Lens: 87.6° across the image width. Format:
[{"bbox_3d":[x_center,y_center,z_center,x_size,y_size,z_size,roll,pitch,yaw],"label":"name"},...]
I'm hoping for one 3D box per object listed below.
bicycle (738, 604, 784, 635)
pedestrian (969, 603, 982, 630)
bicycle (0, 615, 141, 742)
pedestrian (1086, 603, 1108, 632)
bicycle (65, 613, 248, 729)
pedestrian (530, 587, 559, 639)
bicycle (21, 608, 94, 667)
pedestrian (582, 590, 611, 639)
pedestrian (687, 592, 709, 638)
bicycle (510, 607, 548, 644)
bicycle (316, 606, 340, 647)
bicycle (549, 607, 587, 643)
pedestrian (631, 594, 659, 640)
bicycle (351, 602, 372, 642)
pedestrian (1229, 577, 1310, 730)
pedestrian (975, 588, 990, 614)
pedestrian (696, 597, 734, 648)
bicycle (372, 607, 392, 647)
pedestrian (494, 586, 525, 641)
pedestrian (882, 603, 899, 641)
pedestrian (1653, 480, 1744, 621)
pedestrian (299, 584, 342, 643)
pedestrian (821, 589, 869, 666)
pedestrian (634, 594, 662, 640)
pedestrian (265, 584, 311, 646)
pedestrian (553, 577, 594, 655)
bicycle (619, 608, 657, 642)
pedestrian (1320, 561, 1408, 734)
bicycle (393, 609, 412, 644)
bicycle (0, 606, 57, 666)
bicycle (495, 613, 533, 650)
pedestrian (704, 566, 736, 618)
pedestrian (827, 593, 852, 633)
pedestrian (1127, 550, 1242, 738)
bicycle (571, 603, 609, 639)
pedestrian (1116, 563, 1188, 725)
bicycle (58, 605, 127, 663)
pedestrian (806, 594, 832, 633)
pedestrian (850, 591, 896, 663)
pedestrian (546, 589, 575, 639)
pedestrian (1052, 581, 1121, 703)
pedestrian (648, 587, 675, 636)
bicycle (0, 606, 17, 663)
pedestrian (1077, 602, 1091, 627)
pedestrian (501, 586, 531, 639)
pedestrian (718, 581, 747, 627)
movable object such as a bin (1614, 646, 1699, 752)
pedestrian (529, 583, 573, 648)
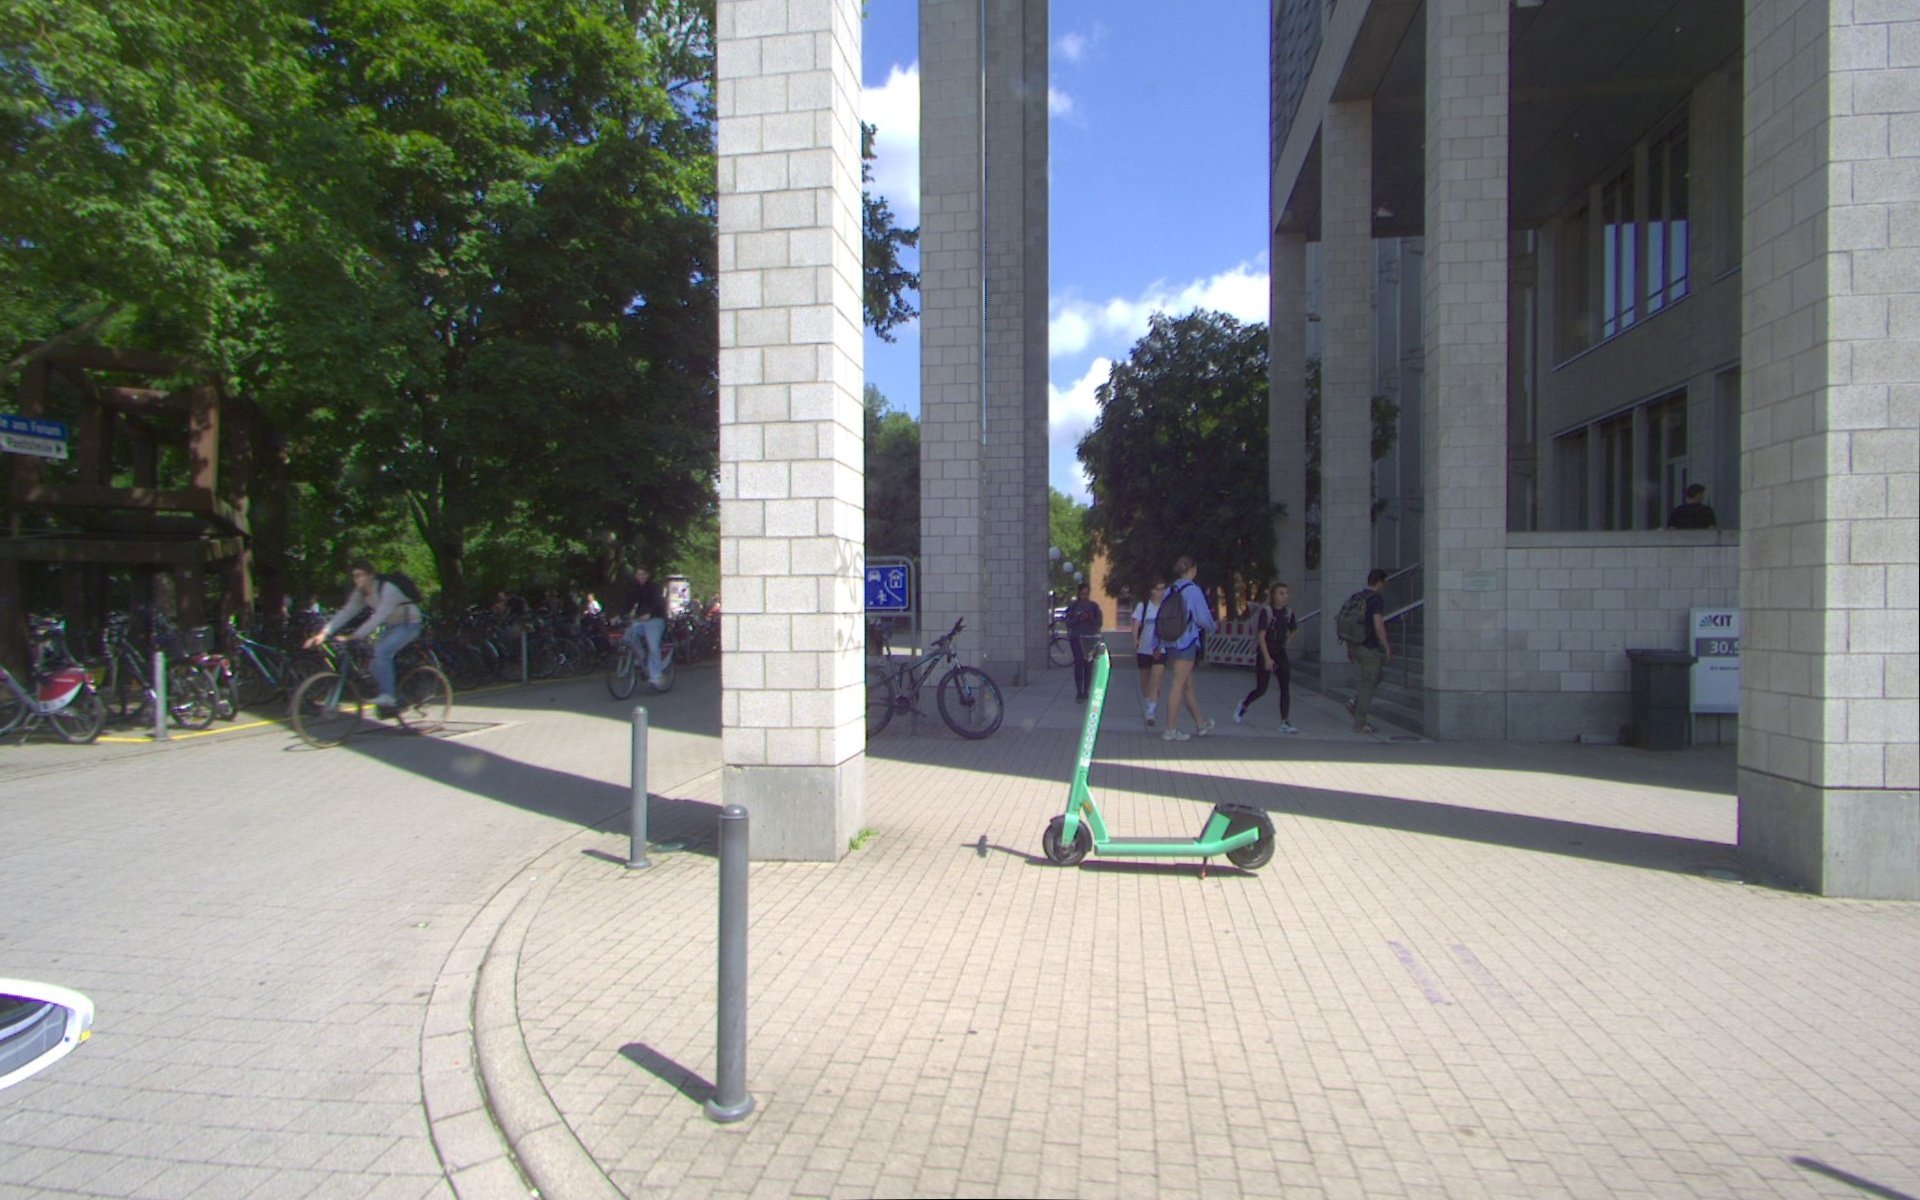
[{"bbox_3d":[-7.388,0.731,37.195,1.670,1.125,0.473,1,0,22],"label":"bicycle"},{"bbox_3d":[0.951,1.038,61.361,0.560,1.632,0.918,1,-1,11],"label":"pedestrian"},{"bbox_3d":[-8.651,0.717,9.425,1.598,1.123,0.496,0,2,9],"label":"bicycle"},{"bbox_3d":[8.873,1.129,64.935,1.021,1.882,0.880,2,0,44],"label":"pedestrian"},{"bbox_3d":[-8.221,0.709,10.260,1.598,1.123,0.496,0,2,9],"label":"bicycle"},{"bbox_3d":[-14.752,0.469,35.532,0.893,1.798,0.767,1,0,-24],"label":"pedestrian"},{"bbox_3d":[-18.009,0.720,20.012,0.495,1.122,1.900,1,0,-24],"label":"bicycle"},{"bbox_3d":[-13.032,0.516,35.915,0.893,1.702,0.767,1,0,-24],"label":"pedestrian"},{"bbox_3d":[-10.047,0.563,38.393,0.676,1.747,0.728,0,1,-27],"label":"pedestrian"},{"bbox_3d":[-13.363,0.793,31.049,1.682,1.098,0.470,1,0,45],"label":"bicycle"},{"bbox_3d":[-17.704,0.734,28.052,0.467,1.098,1.691,1,0,-29],"label":"bicycle"},{"bbox_3d":[-12.418,0.790,31.686,1.682,1.098,0.470,1,0,45],"label":"bicycle"},{"bbox_3d":[-11.968,0.649,38.021,0.893,1.702,0.767,1,0,-24],"label":"pedestrian"},{"bbox_3d":[-17.059,0.607,28.545,0.467,1.098,1.691,1,0,-29],"label":"bicycle"},{"bbox_3d":[3.379,0.565,10.979,0.578,1.620,0.826,0,1,-5],"label":"pedestrian"},{"bbox_3d":[1.600,0.072,71.989,0.771,1.869,1.116,1,0,-15],"label":"pedestrian"},{"bbox_3d":[-8.551,0.768,34.953,0.711,1.747,1.055,1,1,42],"label":"pedestrian"},{"bbox_3d":[-16.464,0.766,28.532,0.467,1.098,1.691,1,0,-29],"label":"bicycle"},{"bbox_3d":[-14.992,0.449,33.321,0.893,1.798,0.767,1,0,-24],"label":"pedestrian"},{"bbox_3d":[-3.183,1.000,45.834,0.755,1.702,0.907,0,1,-1],"label":"pedestrian"},{"bbox_3d":[9.957,-0.643,13.534,0.690,1.827,0.881,0,1,14],"label":"pedestrian"},{"bbox_3d":[-19.770,0.424,30.977,0.890,1.798,0.769,1,0,-13],"label":"pedestrian"},{"bbox_3d":[-2.586,0.603,22.467,0.668,1.692,0.890,-1,1,-43],"label":"pedestrian"},{"bbox_3d":[-11.639,0.623,37.292,0.893,1.702,0.767,1,0,-24],"label":"pedestrian"},{"bbox_3d":[-19.825,0.444,29.566,0.890,1.798,0.769,1,0,-14],"label":"pedestrian"},{"bbox_3d":[-9.252,0.388,23.985,0.755,1.830,0.709,1,0,-8],"label":"pedestrian"},{"bbox_3d":[-10.632,0.818,33.057,1.682,1.098,0.470,1,0,45],"label":"bicycle"},{"bbox_3d":[4.385,0.504,10.890,0.672,1.827,0.589,0,1,-10],"label":"pedestrian"},{"bbox_3d":[-16.031,0.756,28.781,0.445,0.974,1.731,1,0,-29],"label":"bicycle"},{"bbox_3d":[-18.652,0.690,19.816,0.494,1.122,1.901,1,-1,-21],"label":"bicycle"},{"bbox_3d":[-13.673,0.947,30.683,1.682,1.098,0.470,1,0,45],"label":"bicycle"},{"bbox_3d":[-8.714,-0.300,36.389,0.679,1.860,0.933,1,1,43],"label":"pedestrian"},{"bbox_3d":[-5.657,0.599,47.042,0.822,1.839,0.878,1,0,31],"label":"pedestrian"},{"bbox_3d":[2.182,0.435,9.747,0.853,1.746,0.642,2,-2,-25],"label":"pedestrian"},{"bbox_3d":[-11.890,0.666,32.139,1.682,1.098,0.470,1,0,45],"label":"bicycle"},{"bbox_3d":[2.142,0.474,11.270,0.764,1.747,0.860,0,1,9],"label":"pedestrian"},{"bbox_3d":[-17.552,0.665,20.302,0.495,1.122,1.900,1,0,-24],"label":"bicycle"},{"bbox_3d":[-6.654,0.639,47.367,0.759,1.828,0.979,1,0,32],"label":"pedestrian"},{"bbox_3d":[-2.017,0.618,23.232,0.798,1.638,0.735,0,0,-37],"label":"pedestrian"},{"bbox_3d":[-13.861,0.484,34.748,0.893,1.702,0.767,1,0,-24],"label":"pedestrian"},{"bbox_3d":[1.719,0.554,13.686,0.804,1.595,0.881,1,0,1],"label":"pedestrian"},{"bbox_3d":[-10.781,0.406,36.160,0.673,1.747,0.731,2,0,7],"label":"pedestrian"},{"bbox_3d":[-19.046,0.674,19.352,0.494,1.122,1.901,1,-1,-21],"label":"bicycle"},{"bbox_3d":[8.590,0.998,69.403,0.839,1.672,0.587,1,0,17],"label":"pedestrian"},{"bbox_3d":[-15.170,0.429,34.227,0.893,1.798,0.767,1,0,-24],"label":"pedestrian"},{"bbox_3d":[-8.667,0.145,38.169,0.919,1.747,0.677,0,1,0],"label":"pedestrian"},{"bbox_3d":[6.553,0.915,9.439,0.366,0.951,0.551,0,0,-10],"label":"movable object such as a bin"},{"bbox_3d":[-11.229,0.424,27.516,0.898,1.725,0.762,1,0,-43],"label":"pedestrian"}]
